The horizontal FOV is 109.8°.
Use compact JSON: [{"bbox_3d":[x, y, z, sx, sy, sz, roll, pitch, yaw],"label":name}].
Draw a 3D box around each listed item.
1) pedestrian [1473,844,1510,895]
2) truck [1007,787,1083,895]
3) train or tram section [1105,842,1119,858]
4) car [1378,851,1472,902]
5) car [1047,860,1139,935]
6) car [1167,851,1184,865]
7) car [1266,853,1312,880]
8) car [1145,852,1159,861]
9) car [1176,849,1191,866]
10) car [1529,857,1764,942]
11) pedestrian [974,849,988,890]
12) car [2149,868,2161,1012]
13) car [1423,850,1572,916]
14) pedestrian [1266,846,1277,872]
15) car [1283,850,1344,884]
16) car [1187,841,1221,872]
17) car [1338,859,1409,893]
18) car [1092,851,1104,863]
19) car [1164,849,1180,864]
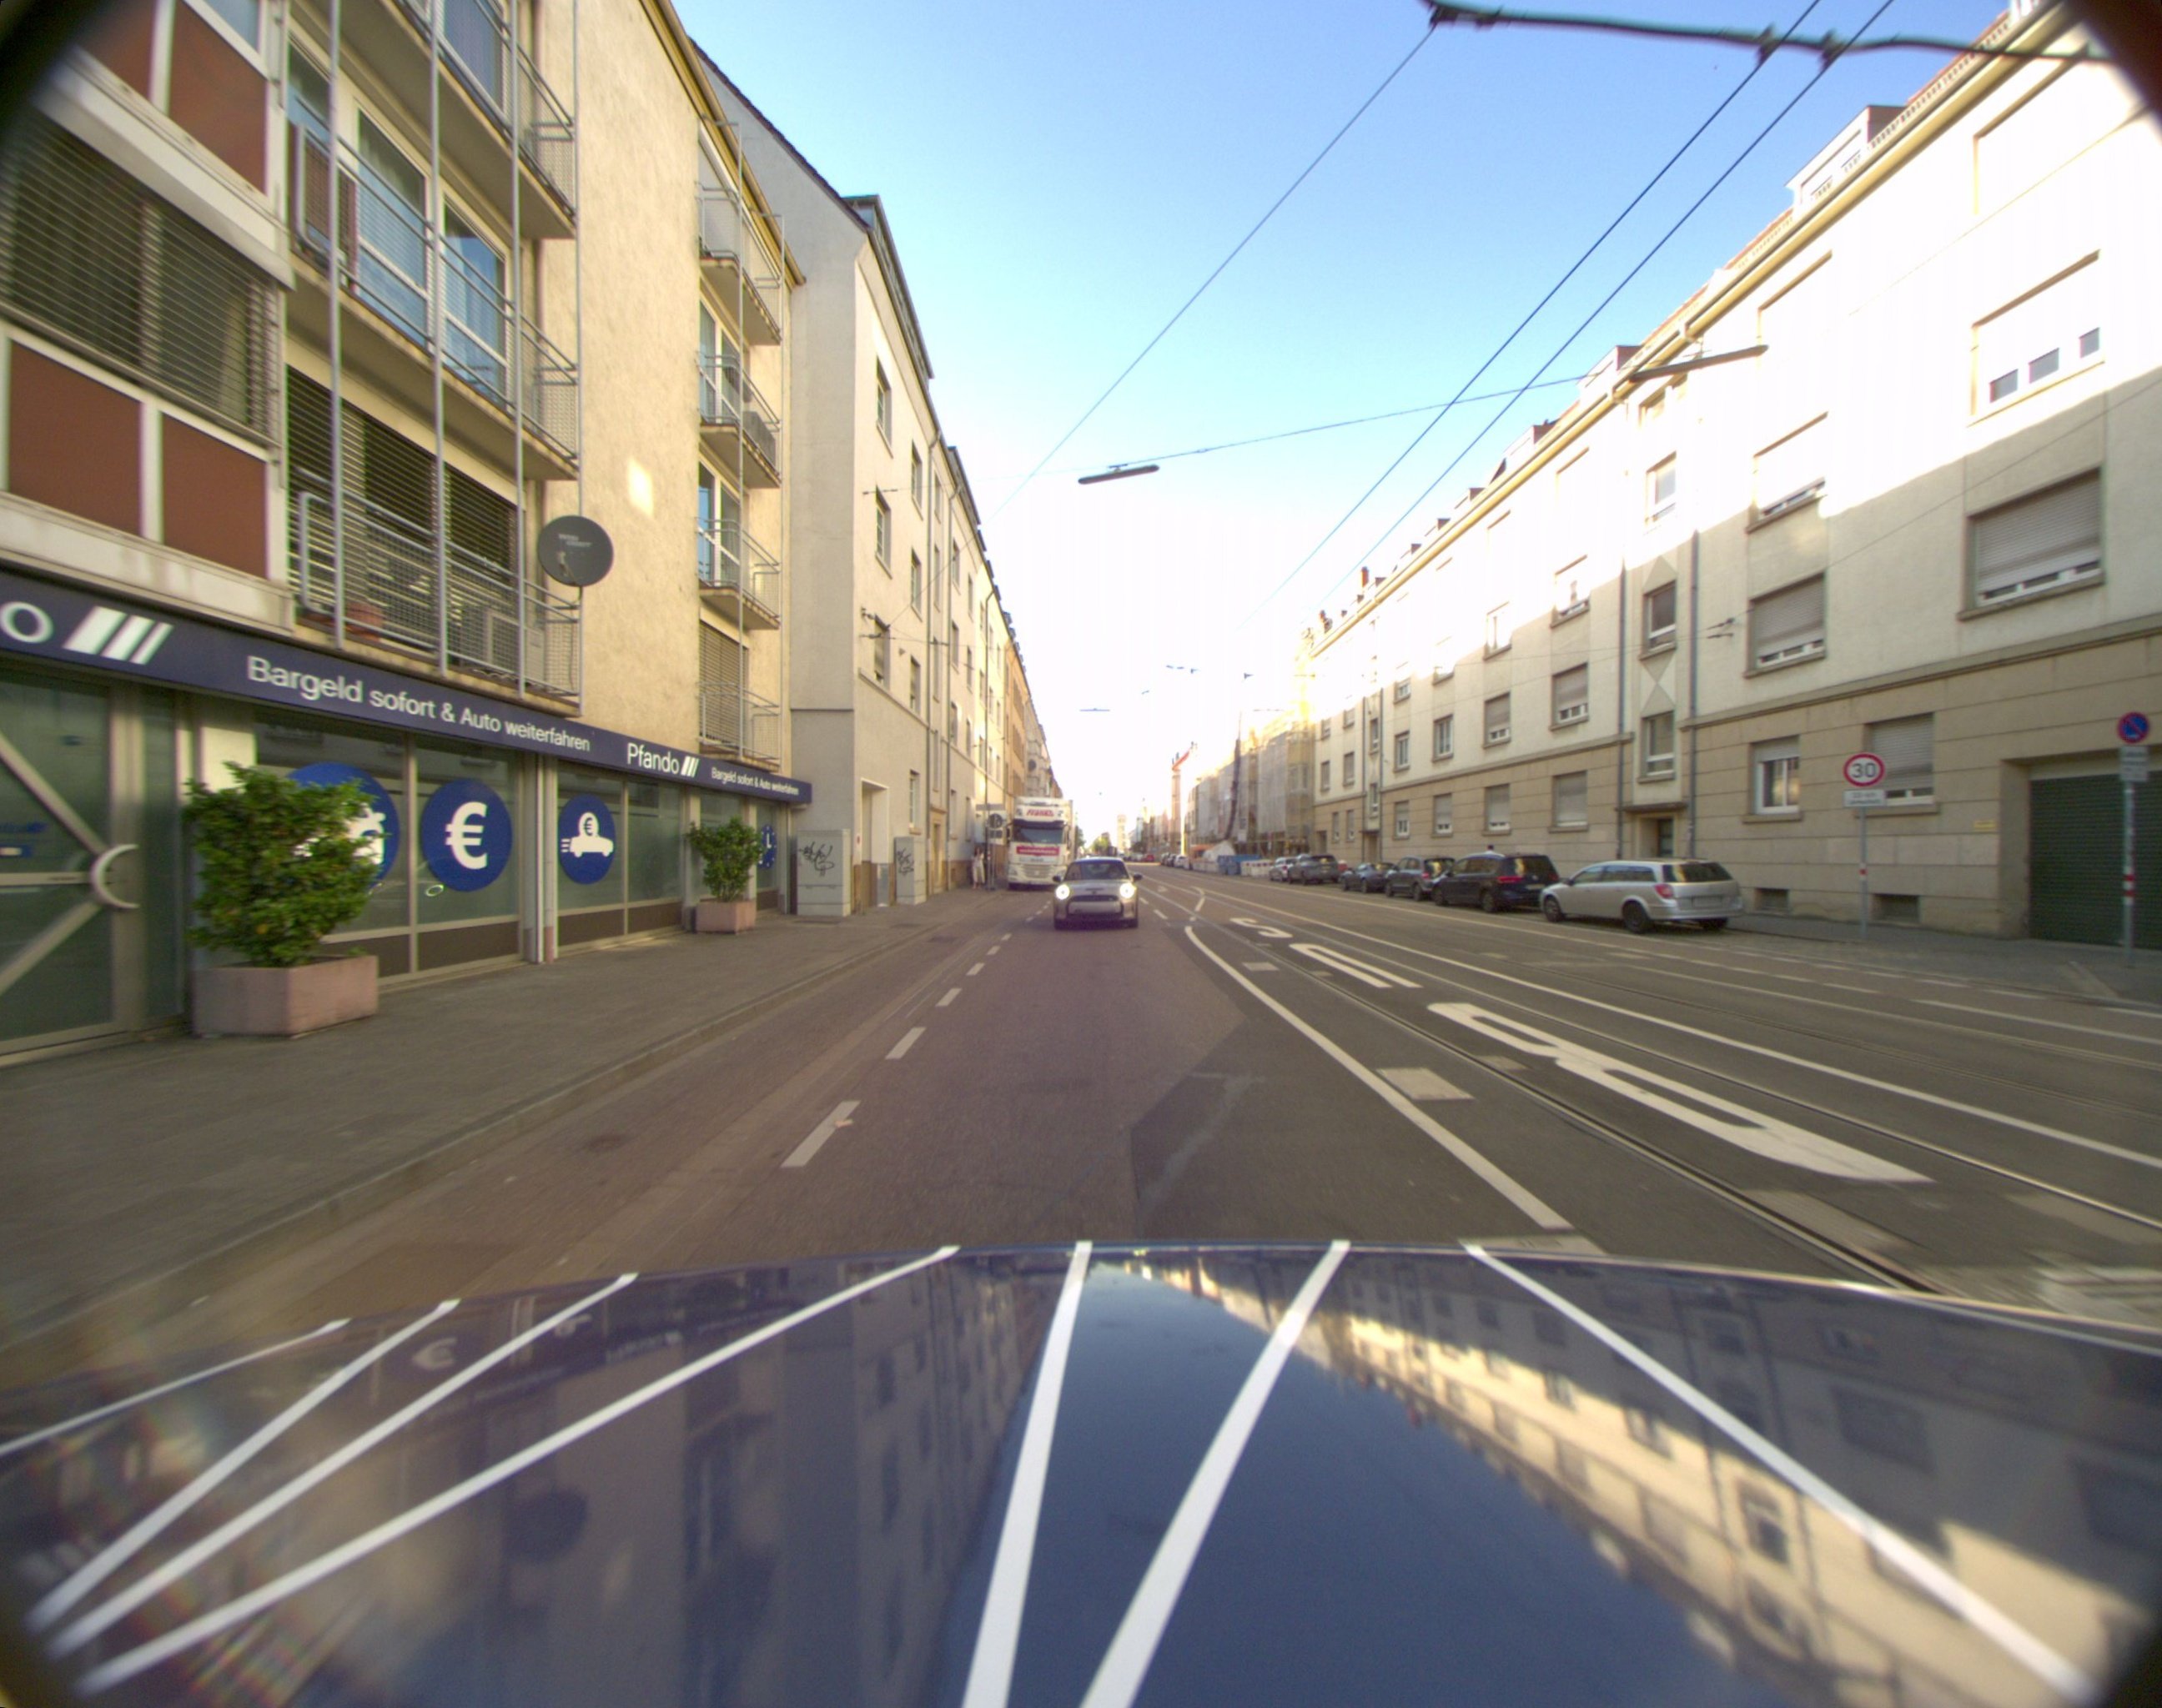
[{"bbox_3d":[14.407,0.535,26.688,0.664,1.757,1.005,-2,1,-7],"label":"pedestrian"},{"bbox_3d":[-1.380,-0.593,35.557,2.699,4.214,11.776,0,1,1],"label":"truck"},{"bbox_3d":[7.015,-0.943,173.410,2.866,3.542,13.041,0,1,0],"label":"train or tram section"},{"bbox_3d":[11.953,0.737,26.656,1.643,1.549,3.595,-3,1,0],"label":"car"},{"bbox_3d":[0.305,0.841,16.315,1.727,1.416,3.818,0,-1,2],"label":"car"},{"bbox_3d":[11.849,0.485,95.384,1.570,1.674,3.936,-2,1,1],"label":"car"},{"bbox_3d":[12.022,0.686,44.107,1.564,1.372,3.507,-3,1,-1],"label":"car"},{"bbox_3d":[12.827,0.390,137.886,2.231,1.518,4.960,-2,1,1],"label":"car"},{"bbox_3d":[12.078,0.428,89.283,1.657,1.911,3.767,-2,1,8],"label":"car"},{"bbox_3d":[11.888,0.856,16.410,1.729,1.446,4.370,-3,1,-1],"label":"car"},{"bbox_3d":[-3.925,0.608,29.928,0.475,1.620,0.467,0,1,2],"label":"pedestrian"},{"bbox_3d":[11.900,0.877,5.627,1.773,1.466,4.445,-2,1,1],"label":"car"},{"bbox_3d":[11.806,0.749,21.922,1.819,1.624,4.324,-3,1,-1],"label":"car"},{"bbox_3d":[14.129,0.363,56.372,0.519,1.861,0.763,-2,1,0],"label":"pedestrian"},{"bbox_3d":[12.011,0.637,39.549,1.751,1.600,4.158,-3,1,-1],"label":"car"},{"bbox_3d":[11.526,0.183,71.746,2.215,2.681,5.873,-2,1,1],"label":"car"},{"bbox_3d":[11.974,0.874,31.278,1.476,1.212,3.523,-3,1,-1],"label":"car"},{"bbox_3d":[3.032,0.522,137.136,1.999,1.871,4.270,-2,1,-1],"label":"car"},{"bbox_3d":[12.192,0.295,102.002,1.570,1.945,4.184,-2,1,1],"label":"car"}]
